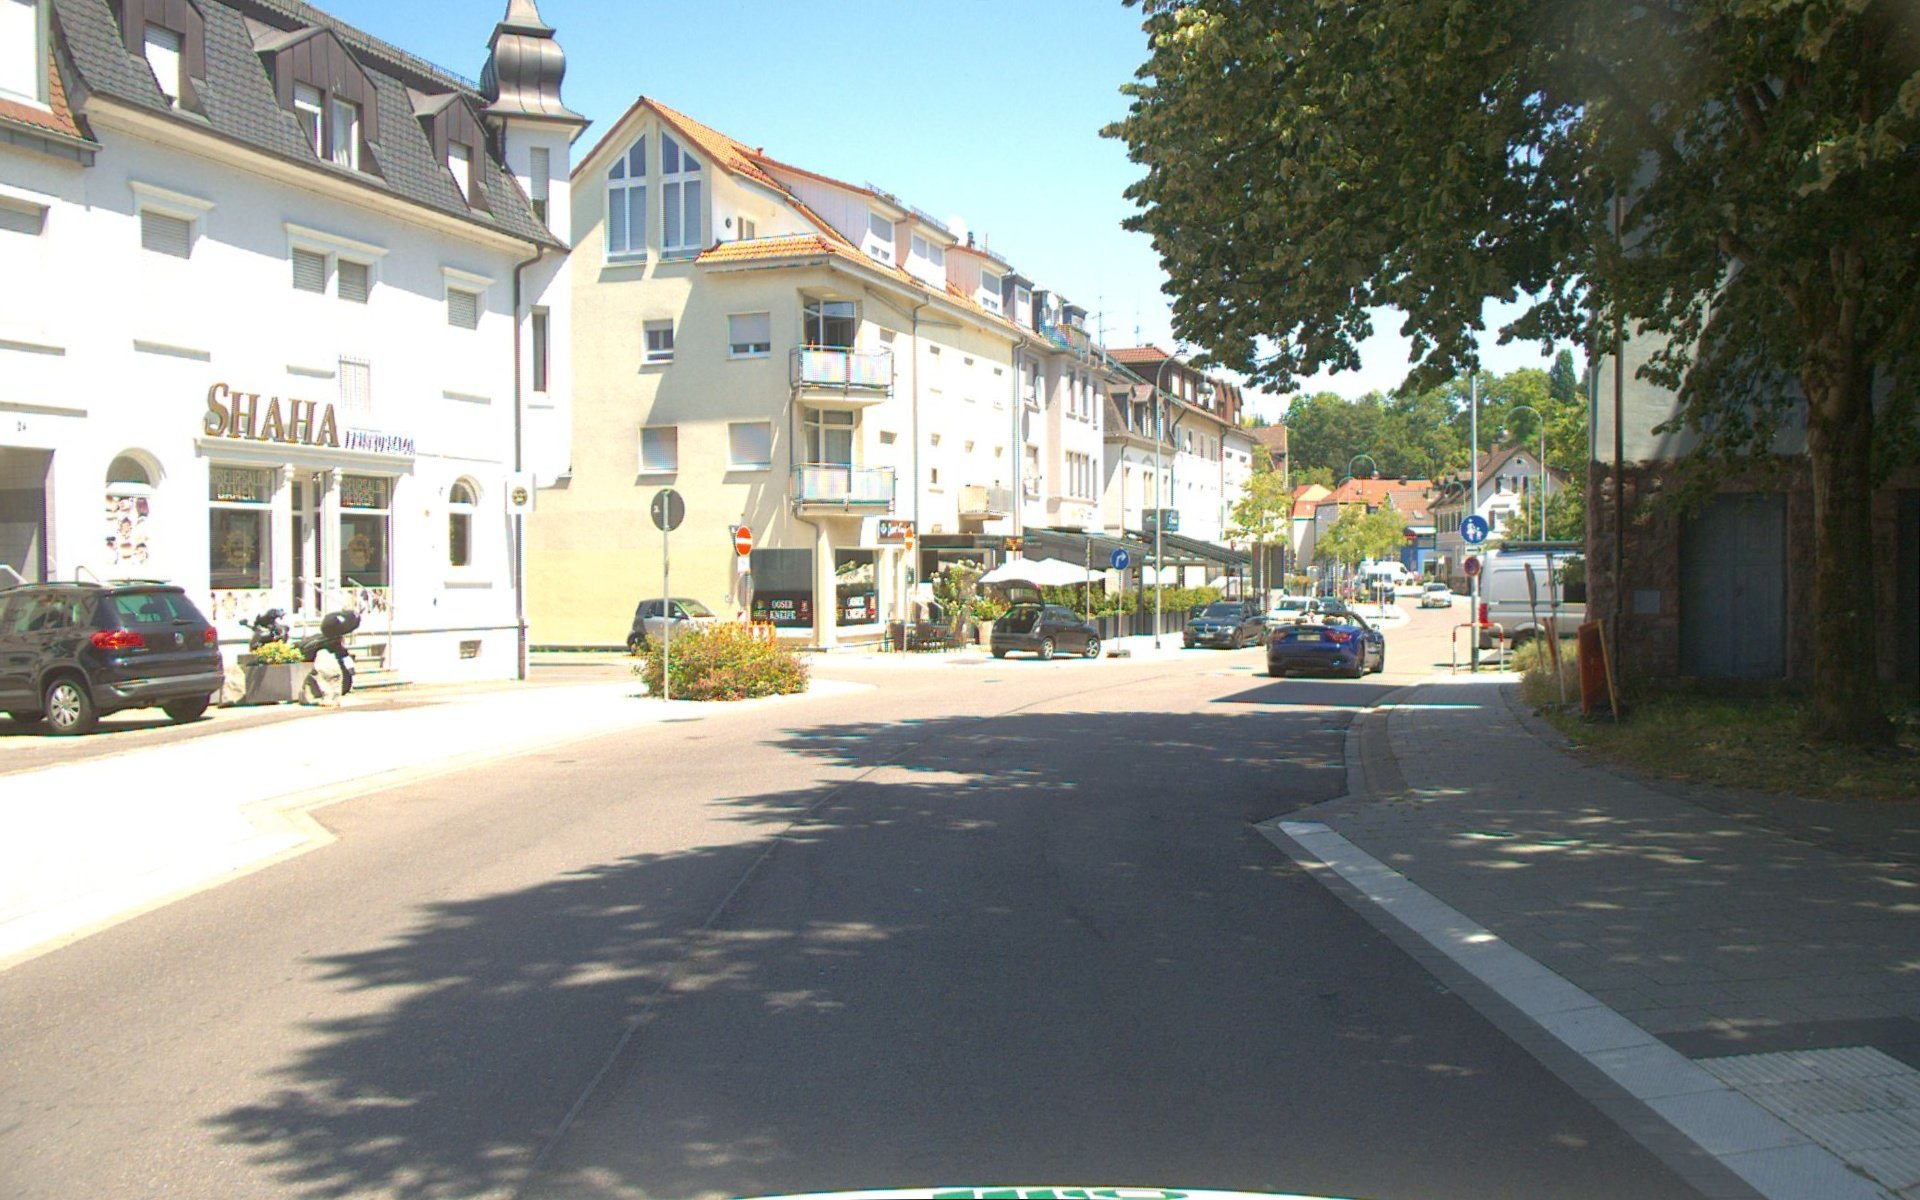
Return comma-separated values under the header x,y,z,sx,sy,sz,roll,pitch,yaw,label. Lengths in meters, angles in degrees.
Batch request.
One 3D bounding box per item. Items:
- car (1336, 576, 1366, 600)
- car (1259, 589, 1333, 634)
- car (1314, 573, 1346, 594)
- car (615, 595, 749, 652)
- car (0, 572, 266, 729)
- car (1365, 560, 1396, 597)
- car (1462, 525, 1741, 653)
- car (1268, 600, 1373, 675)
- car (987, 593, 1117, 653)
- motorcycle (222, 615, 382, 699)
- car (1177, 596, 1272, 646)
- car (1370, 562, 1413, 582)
x,y,z,sx,sy,sz,roll,pitch,yaw,label
29.221,-0.914,123.647,1.951,1.769,4.004,-1,0,10,car
12.338,0.396,60.526,1.613,1.505,3.936,2,2,28,car
30.429,-1.384,135.977,1.952,1.721,4.002,0,1,3,car
-7.621,0.644,45.452,3.194,1.483,1.693,-1,1,19,car
-10.531,0.551,19.435,4.093,1.691,1.972,0,0,19,car
29.050,-1.491,114.316,1.827,2.442,4.823,-1,1,12,car
14.723,-0.227,38.123,5.819,2.780,2.196,0,0,23,car
7.589,0.723,34.522,1.831,1.365,4.599,1,1,16,car
2.537,0.593,44.607,1.682,1.486,4.118,2,1,33,car
-10.115,0.858,25.429,2.345,1.239,0.833,0,-1,21,motorcycle
8.644,0.644,53.742,1.798,1.454,4.779,1,2,25,car
46.471,-2.992,178.222,4.197,2.049,1.987,1,-2,-21,car
